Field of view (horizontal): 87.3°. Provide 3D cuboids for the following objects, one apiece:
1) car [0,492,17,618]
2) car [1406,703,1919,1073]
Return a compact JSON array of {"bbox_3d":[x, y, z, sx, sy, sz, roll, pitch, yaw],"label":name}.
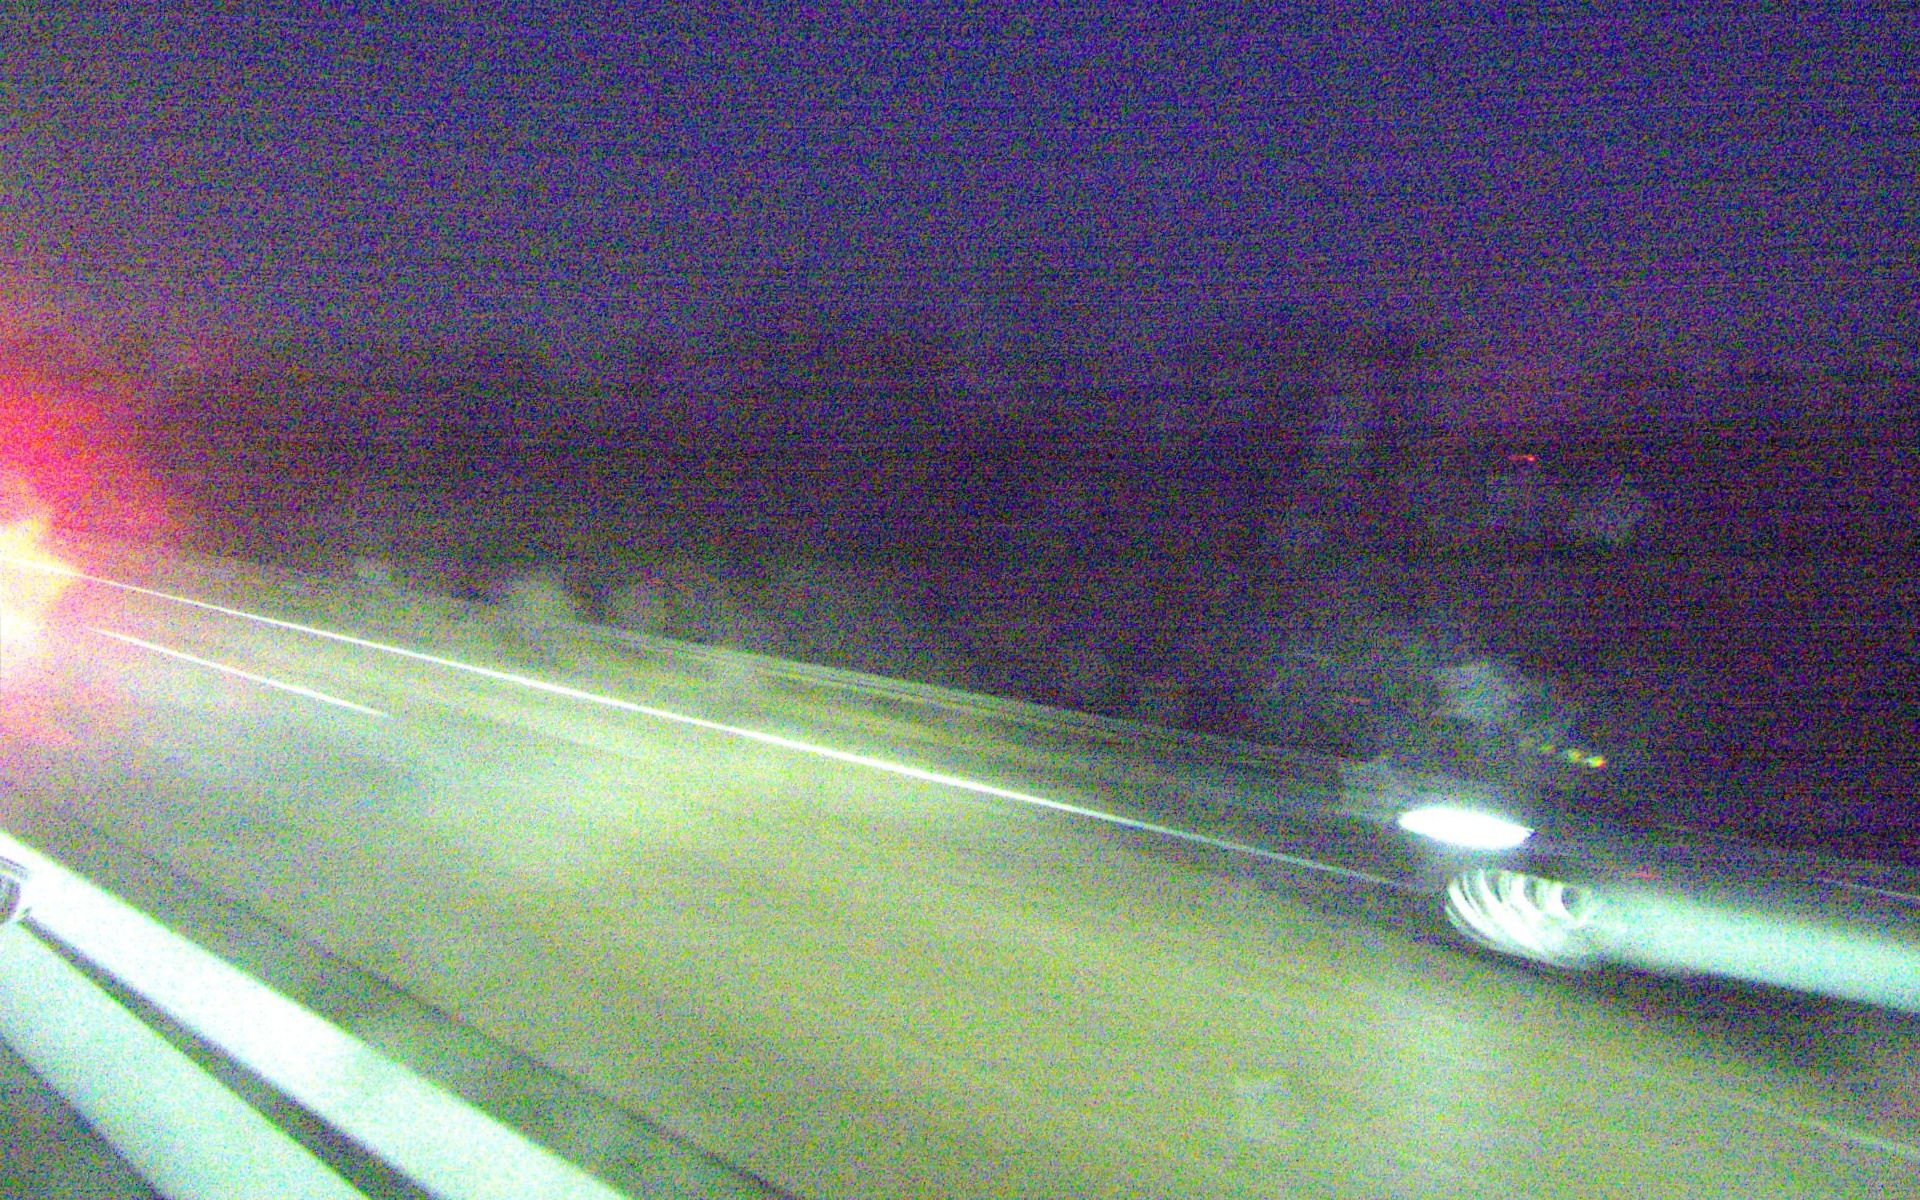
[{"bbox_3d":[-14.331,-0.894,12.737,4.930,1.537,2.062,7,-1,30],"label":"car"},{"bbox_3d":[4.994,1.687,6.079,3.973,1.514,1.724,7,-2,28],"label":"car"}]
